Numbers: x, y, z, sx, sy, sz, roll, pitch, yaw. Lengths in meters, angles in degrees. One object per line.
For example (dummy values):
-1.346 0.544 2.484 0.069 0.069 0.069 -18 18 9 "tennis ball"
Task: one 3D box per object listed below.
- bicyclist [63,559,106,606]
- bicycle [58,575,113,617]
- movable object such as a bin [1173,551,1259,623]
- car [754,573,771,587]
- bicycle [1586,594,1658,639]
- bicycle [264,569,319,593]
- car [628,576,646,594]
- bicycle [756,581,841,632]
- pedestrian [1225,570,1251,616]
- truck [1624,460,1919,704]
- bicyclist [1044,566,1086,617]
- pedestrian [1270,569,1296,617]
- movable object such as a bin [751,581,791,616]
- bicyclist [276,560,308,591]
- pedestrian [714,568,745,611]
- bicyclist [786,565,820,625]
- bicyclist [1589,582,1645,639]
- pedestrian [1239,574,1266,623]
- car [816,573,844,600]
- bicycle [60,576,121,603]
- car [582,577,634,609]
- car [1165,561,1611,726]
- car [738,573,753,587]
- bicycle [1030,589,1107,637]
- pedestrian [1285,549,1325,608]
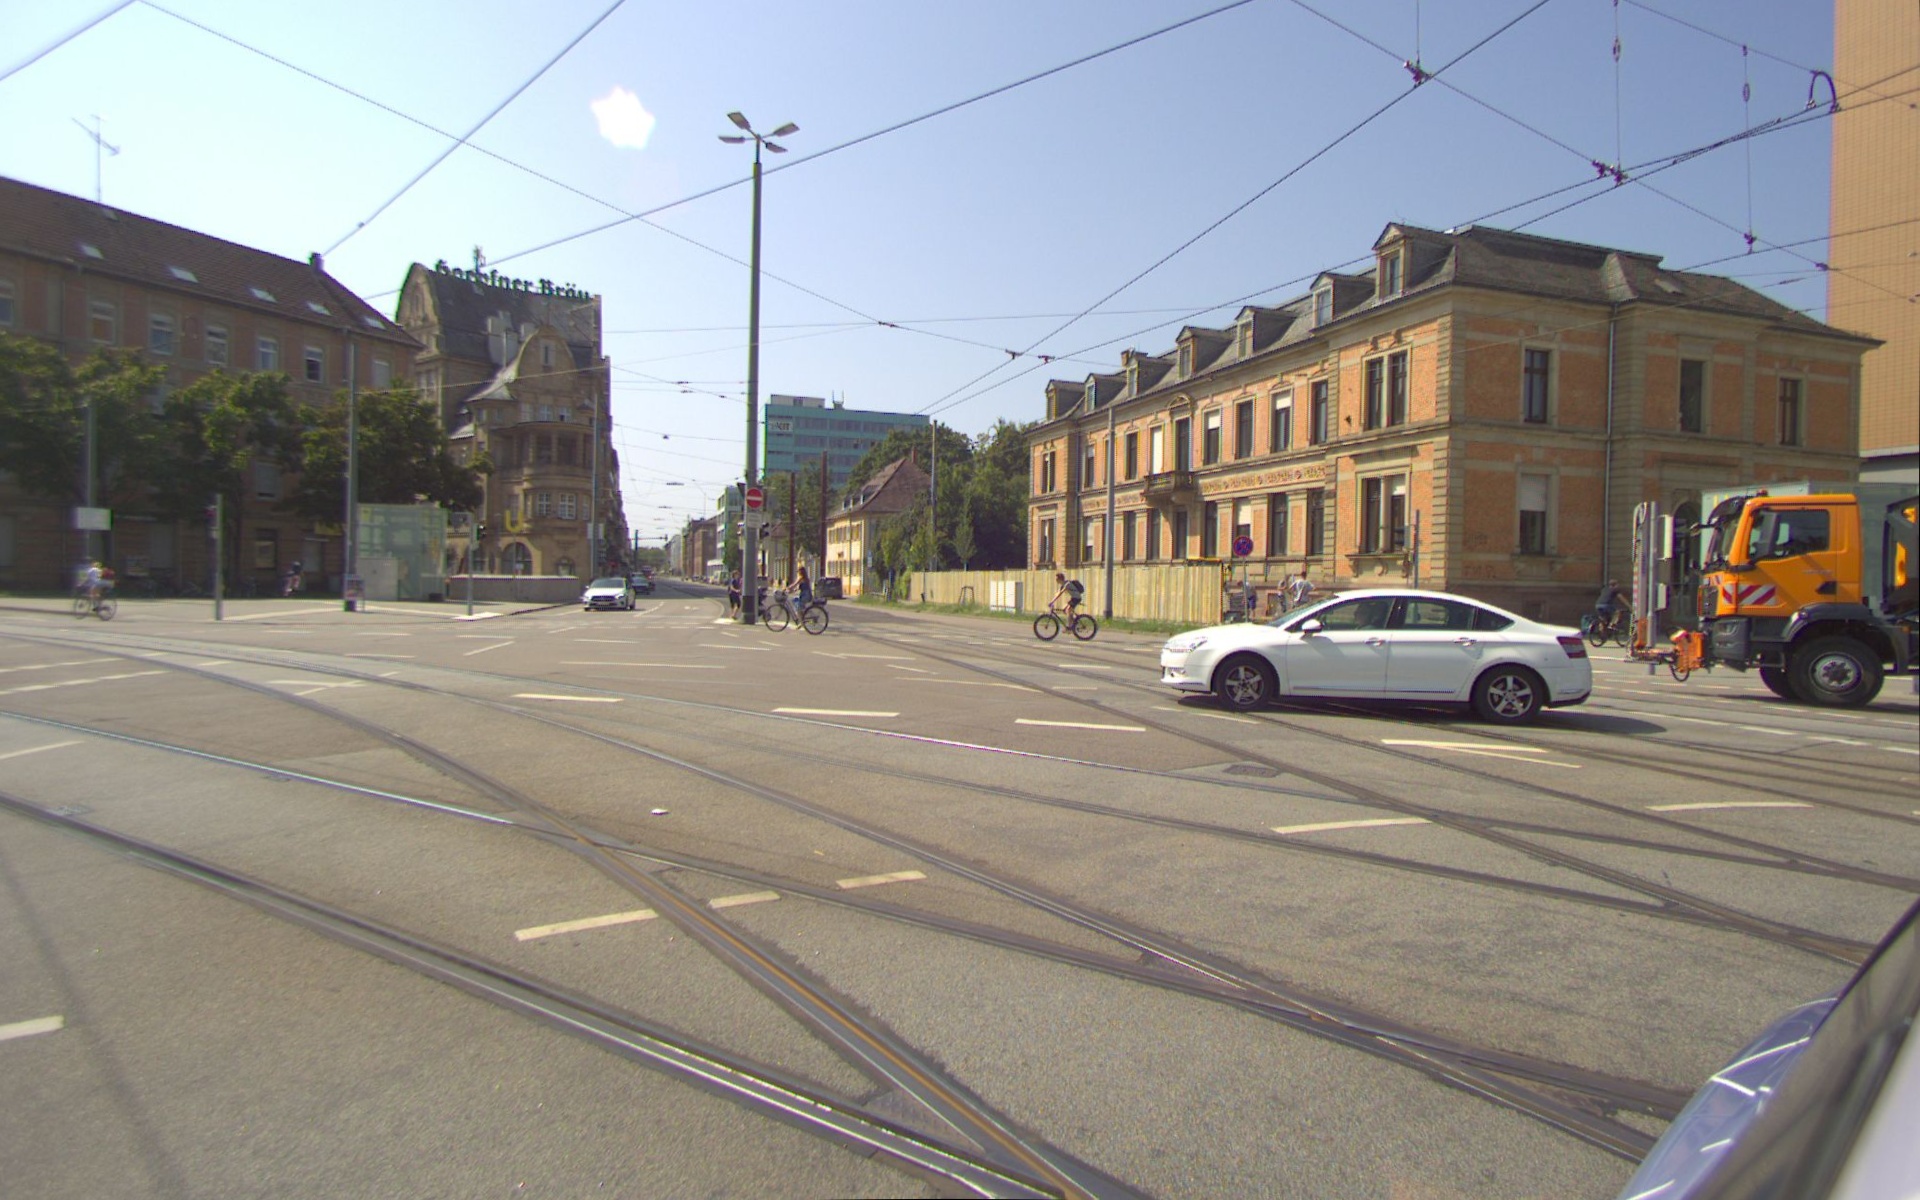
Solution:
-23.978 -0.484 27.723 0.635 1.269 0.655 1 1 17 "bicyclist"
-24.059 -0.112 27.845 1.623 1.125 0.438 1 1 21 "bicycle"
10.070 -0.551 40.182 1.781 2.705 4.462 0 1 -7 "movable object such as a bin"
-25.134 -2.507 128.686 1.958 1.705 4.008 0 0 -15 "car"
17.366 0.423 26.544 1.916 1.140 0.473 1 1 -19 "bicycle"
-28.770 -0.823 43.552 2.343 1.011 0.643 1 1 17 "bicycle"
-28.075 -1.283 87.924 1.346 1.416 3.262 0 -1 -20 "car"
-4.092 0.144 25.613 2.099 1.125 0.439 4 2 17 "bicycle"
10.254 -0.266 37.351 0.683 1.693 0.674 1 1 41 "pedestrian"
14.012 -0.228 14.609 7.127 3.270 3.011 0 -1 29 "truck"
2.635 -0.226 25.477 0.847 1.249 1.103 0 1 -6 "bicyclist"
11.570 -0.269 36.230 0.683 1.693 0.674 1 1 41 "pedestrian"
-6.075 -0.034 32.552 1.032 1.099 0.810 0 -1 36 "movable object such as a bin"
-28.715 -1.062 43.536 0.909 1.336 0.745 1 1 17 "bicyclist"
-7.444 -0.354 32.685 0.801 1.368 0.719 1 1 2 "pedestrian"
-3.971 -0.130 25.595 0.635 1.499 0.655 1 1 17 "bicyclist"
17.193 0.270 26.507 0.910 1.441 0.805 1 1 -16 "bicyclist"
10.334 -0.051 35.772 0.683 1.693 0.674 1 1 41 "pedestrian"
-10.552 -1.074 82.102 1.958 2.039 4.007 0 -1 -12 "car"
-32.630 -0.403 38.004 0.456 0.969 1.777 1 1 20 "bicycle"
-15.270 -0.332 44.051 1.555 1.304 3.734 -2 1 -11 "car"
4.819 0.433 12.041 4.538 1.639 1.763 2 0 16 "car"
-30.882 -2.879 145.476 1.958 1.928 4.008 0 -1 -15 "car"
2.718 0.323 25.485 1.818 1.125 0.714 -1 2 -6 "bicycle"
11.057 -0.693 32.445 1.035 1.836 0.674 1 1 41 "pedestrian"
